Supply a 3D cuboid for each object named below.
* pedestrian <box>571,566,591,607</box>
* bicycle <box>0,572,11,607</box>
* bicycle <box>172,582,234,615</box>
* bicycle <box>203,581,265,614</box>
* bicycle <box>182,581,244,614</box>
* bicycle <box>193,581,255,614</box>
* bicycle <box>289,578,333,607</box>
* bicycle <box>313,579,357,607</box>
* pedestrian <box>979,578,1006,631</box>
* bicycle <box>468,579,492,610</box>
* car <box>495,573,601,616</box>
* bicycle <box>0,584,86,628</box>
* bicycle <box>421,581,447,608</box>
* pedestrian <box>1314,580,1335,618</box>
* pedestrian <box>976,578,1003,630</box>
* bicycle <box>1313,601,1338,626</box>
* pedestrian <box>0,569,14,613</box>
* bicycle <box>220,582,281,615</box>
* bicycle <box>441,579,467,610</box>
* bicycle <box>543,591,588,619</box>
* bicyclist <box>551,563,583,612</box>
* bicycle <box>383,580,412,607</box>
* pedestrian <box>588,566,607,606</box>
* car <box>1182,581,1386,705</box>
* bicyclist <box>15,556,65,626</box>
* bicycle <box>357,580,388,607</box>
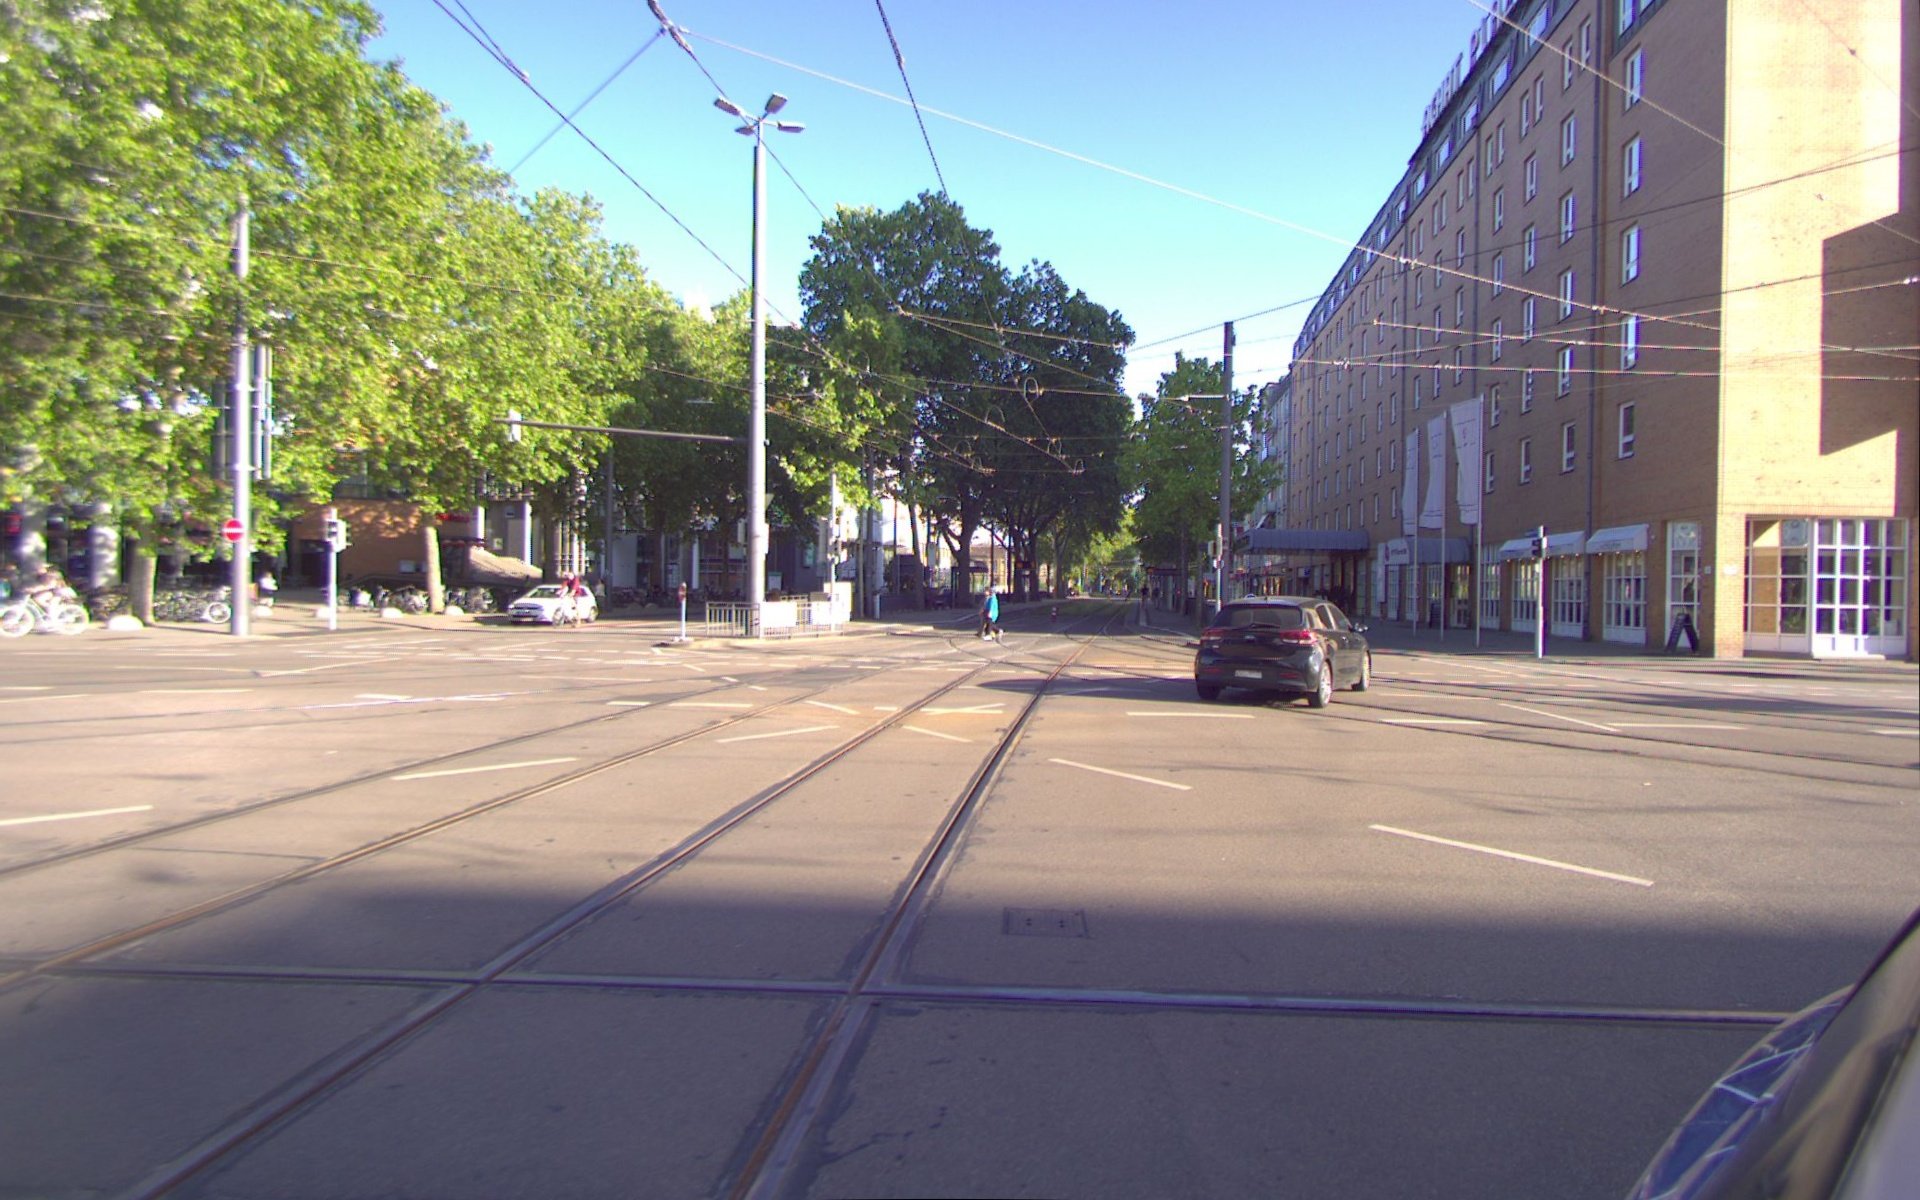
[{"bbox_3d":[-16.992,-0.615,45.358,0.631,1.798,0.617,1,0,2],"label":"pedestrian"},{"bbox_3d":[-32.485,-0.358,32.426,0.832,1.127,3.002,1,0,44],"label":"bicycle"},{"bbox_3d":[-24.156,-0.058,32.326,0.385,0.998,1.702,1,1,16],"label":"bicycle"},{"bbox_3d":[-22.844,-0.081,31.883,0.385,0.998,1.702,1,1,16],"label":"bicycle"},{"bbox_3d":[-23.724,-0.086,32.186,0.385,0.998,1.702,1,1,16],"label":"bicycle"},{"bbox_3d":[-23.292,-0.084,32.067,0.385,0.998,1.702,1,1,16],"label":"bicycle"},{"bbox_3d":[-26.777,-0.319,41.709,2.924,1.105,0.864,2,1,44],"label":"bicycle"},{"bbox_3d":[-26.231,-0.309,42.471,2.924,1.105,0.864,2,1,44],"label":"bicycle"},{"bbox_3d":[0.972,0.125,30.225,0.727,1.559,0.677,0,-1,-5],"label":"pedestrian"},{"bbox_3d":[-20.643,-0.261,43.587,0.859,1.250,2.938,1,1,-24],"label":"bicycle"},{"bbox_3d":[-15.104,-0.176,37.329,1.966,1.505,3.992,0,-1,7],"label":"car"},{"bbox_3d":[-22.730,0.124,24.947,0.509,1.034,1.851,0,1,13],"label":"bicycle"},{"bbox_3d":[-23.259,-0.272,44.779,0.859,1.105,2.938,1,1,-24],"label":"bicycle"},{"bbox_3d":[15.844,-0.045,43.960,0.760,1.614,0.835,0,-1,13],"label":"pedestrian"},{"bbox_3d":[0.895,0.121,30.908,0.727,1.559,0.652,0,-1,-5],"label":"pedestrian"},{"bbox_3d":[15.829,0.568,43.896,0.780,1.065,1.915,0,-1,13],"label":"bicycle"},{"bbox_3d":[-33.980,-0.315,35.730,0.560,1.546,0.768,1,0,36],"label":"pedestrian"},{"bbox_3d":[-22.303,-0.069,31.842,0.385,0.998,1.702,1,1,16],"label":"bicycle"},{"bbox_3d":[-21.559,-0.272,43.138,0.859,1.250,2.938,1,1,-24],"label":"bicycle"},{"bbox_3d":[-13.436,0.151,34.527,0.641,0.922,1.856,1,1,6],"label":"bicycle"},{"bbox_3d":[-13.422,-0.438,34.575,0.626,1.635,0.927,1,0,6],"label":"bicyclist"},{"bbox_3d":[-24.713,-0.285,44.514,0.859,1.105,2.938,1,1,-24],"label":"bicycle"},{"bbox_3d":[-16.225,-0.621,45.296,0.631,1.798,0.617,1,0,2],"label":"pedestrian"},{"bbox_3d":[4.844,0.505,14.714,1.784,1.484,4.260,2,1,33],"label":"car"},{"bbox_3d":[-22.709,-0.230,24.993,0.561,1.716,0.742,0,1,14],"label":"bicyclist"},{"bbox_3d":[-25.224,-0.292,43.490,0.859,1.105,2.938,1,1,-24],"label":"bicycle"}]
